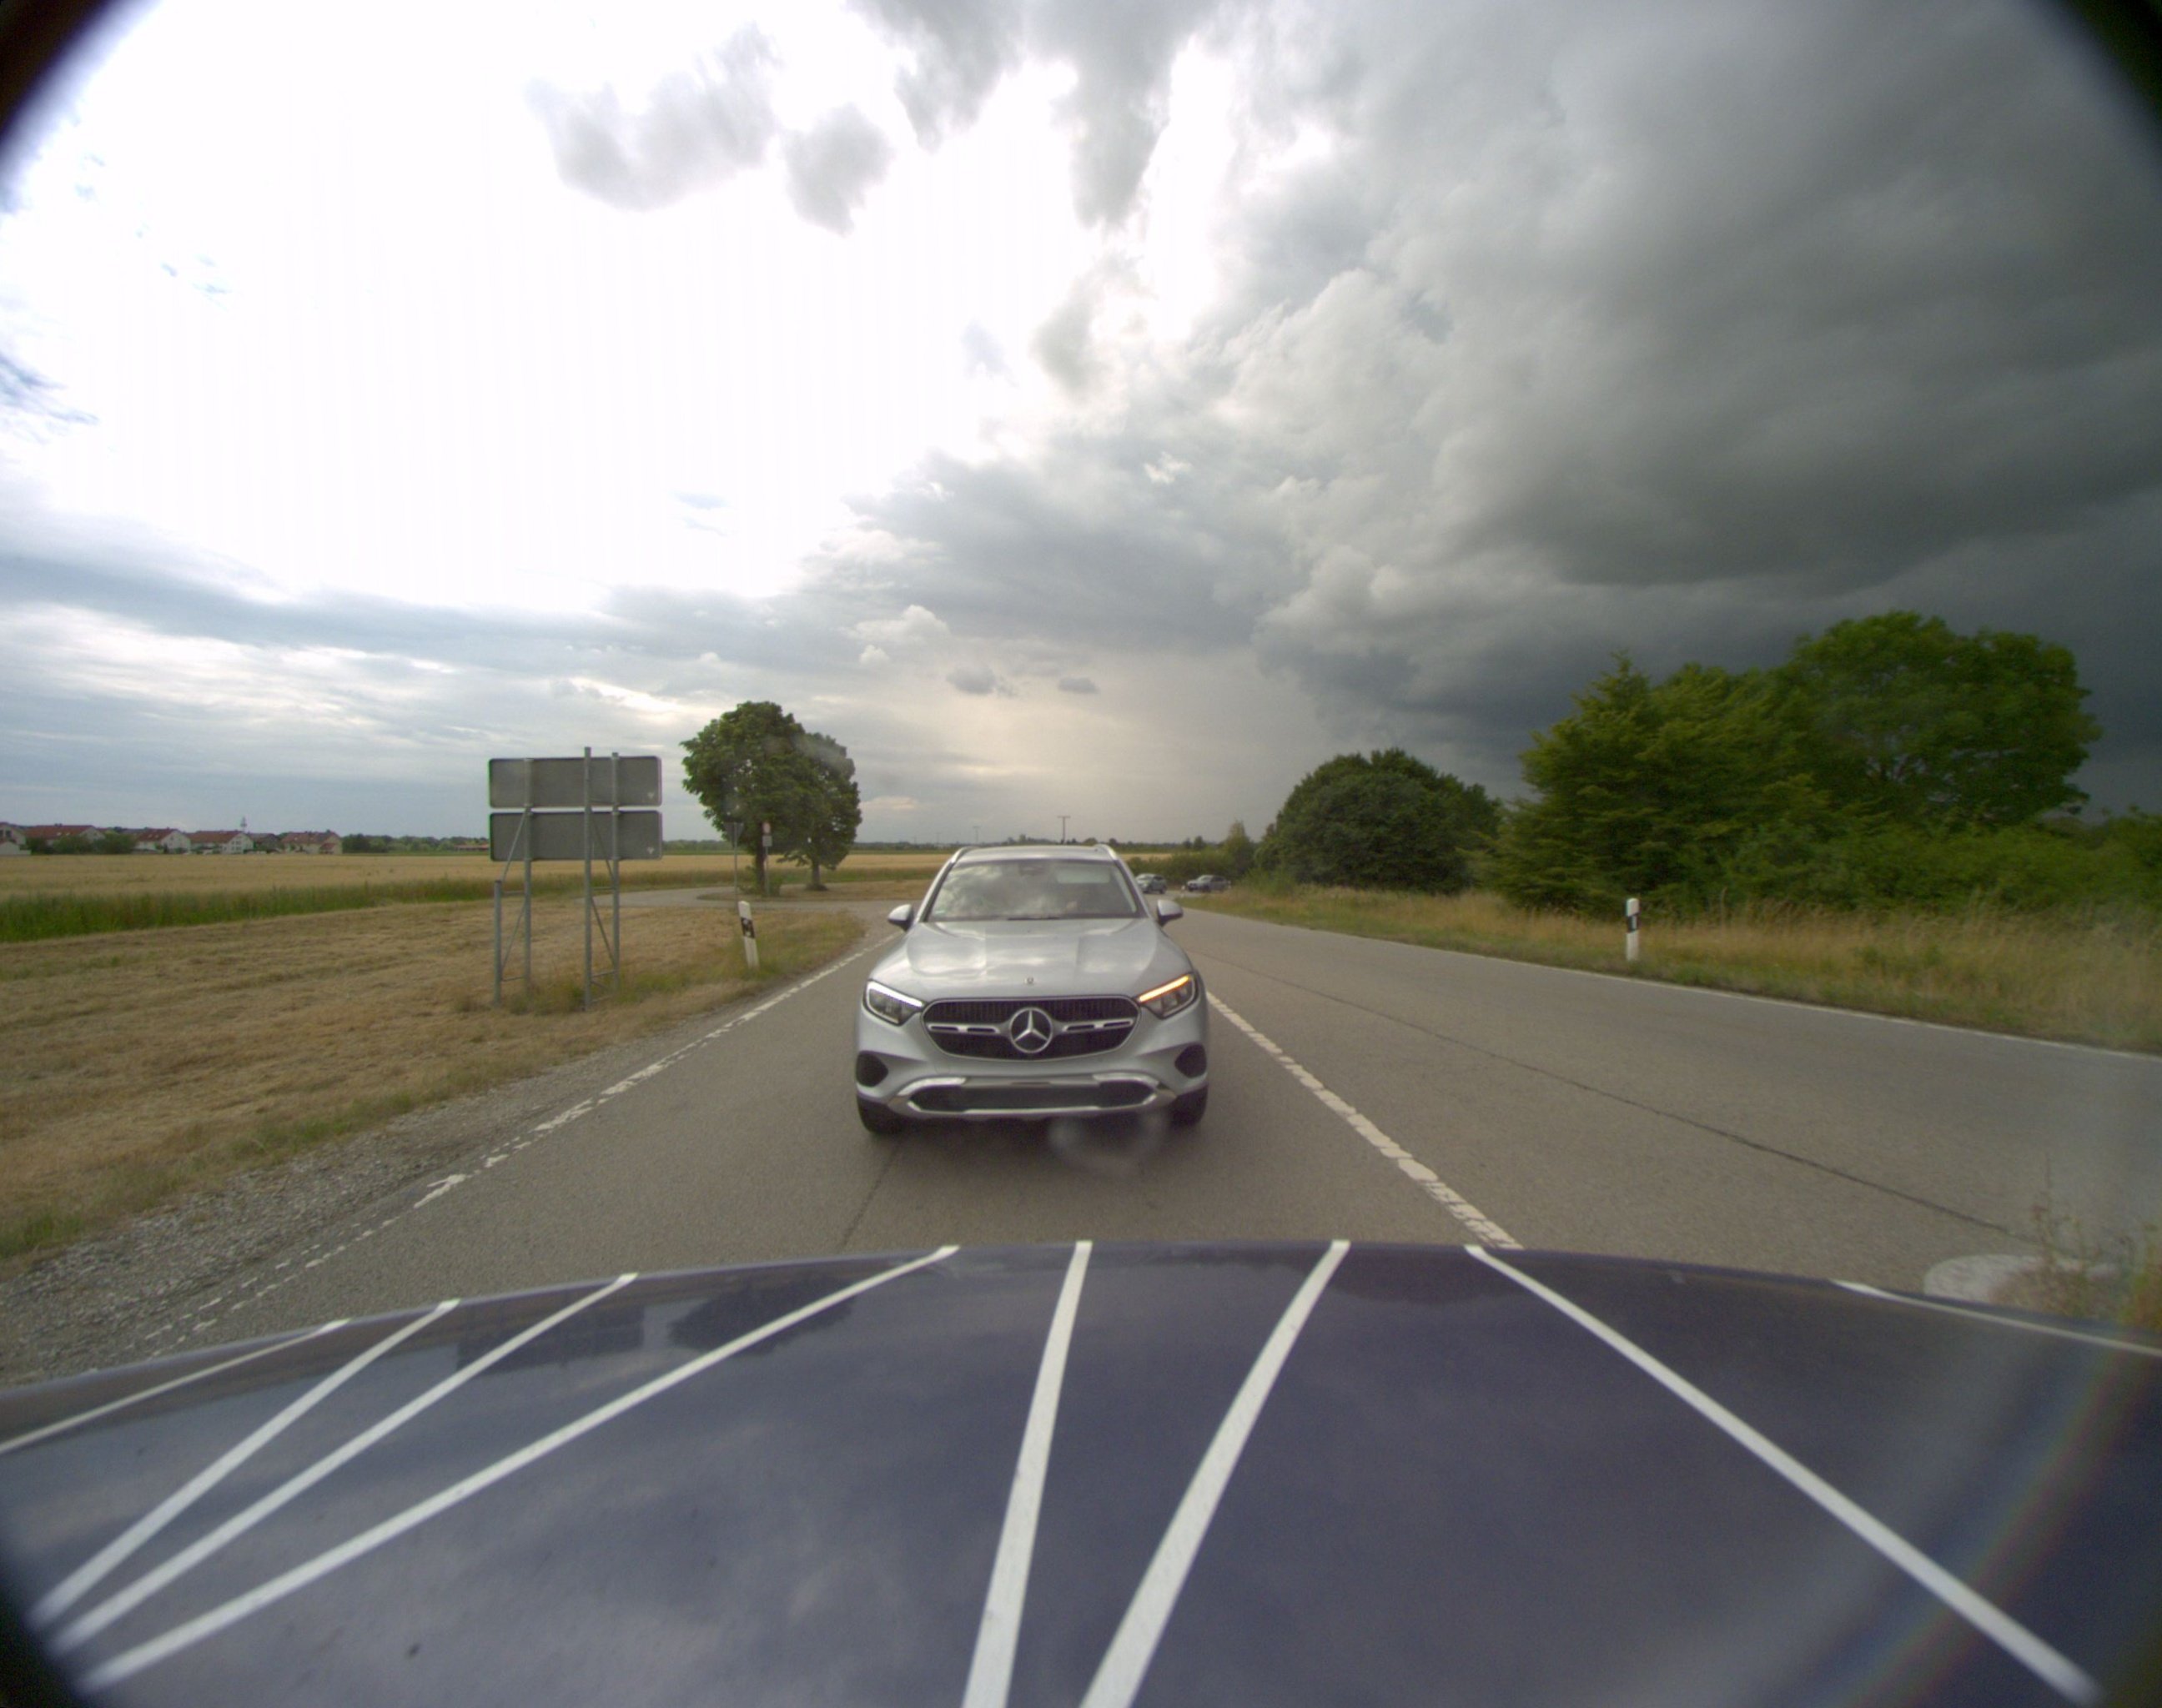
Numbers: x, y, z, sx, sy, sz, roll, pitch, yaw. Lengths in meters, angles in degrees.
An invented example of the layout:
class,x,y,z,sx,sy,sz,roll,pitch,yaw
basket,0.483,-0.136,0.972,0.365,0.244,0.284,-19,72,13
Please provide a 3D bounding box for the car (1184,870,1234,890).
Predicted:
class,x,y,z,sx,sy,sz,roll,pitch,yaw
car,12.466,2.465,73.624,5.220,1.710,1.994,0,2,-44

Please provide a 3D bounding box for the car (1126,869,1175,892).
class,x,y,z,sx,sy,sz,roll,pitch,yaw
car,5.913,2.235,64.118,1.994,1.709,5.221,3,0,31

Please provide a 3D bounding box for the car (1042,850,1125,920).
class,x,y,z,sx,sy,sz,roll,pitch,yaw
car,-0.064,0.881,22.405,1.999,1.709,5.208,4,-2,-3

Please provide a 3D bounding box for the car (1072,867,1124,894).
class,x,y,z,sx,sy,sz,roll,pitch,yaw
car,1.298,1.917,55.362,1.995,1.709,5.218,3,0,21

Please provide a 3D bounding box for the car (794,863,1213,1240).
class,x,y,z,sx,sy,sz,roll,pitch,yaw
car,-0.421,0.900,5.624,1.837,1.577,4.449,-1,0,-2

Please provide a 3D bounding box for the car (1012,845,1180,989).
class,x,y,z,sx,sy,sz,roll,pitch,yaw
car,0.188,0.805,11.797,1.998,1.709,5.209,1,-1,0
